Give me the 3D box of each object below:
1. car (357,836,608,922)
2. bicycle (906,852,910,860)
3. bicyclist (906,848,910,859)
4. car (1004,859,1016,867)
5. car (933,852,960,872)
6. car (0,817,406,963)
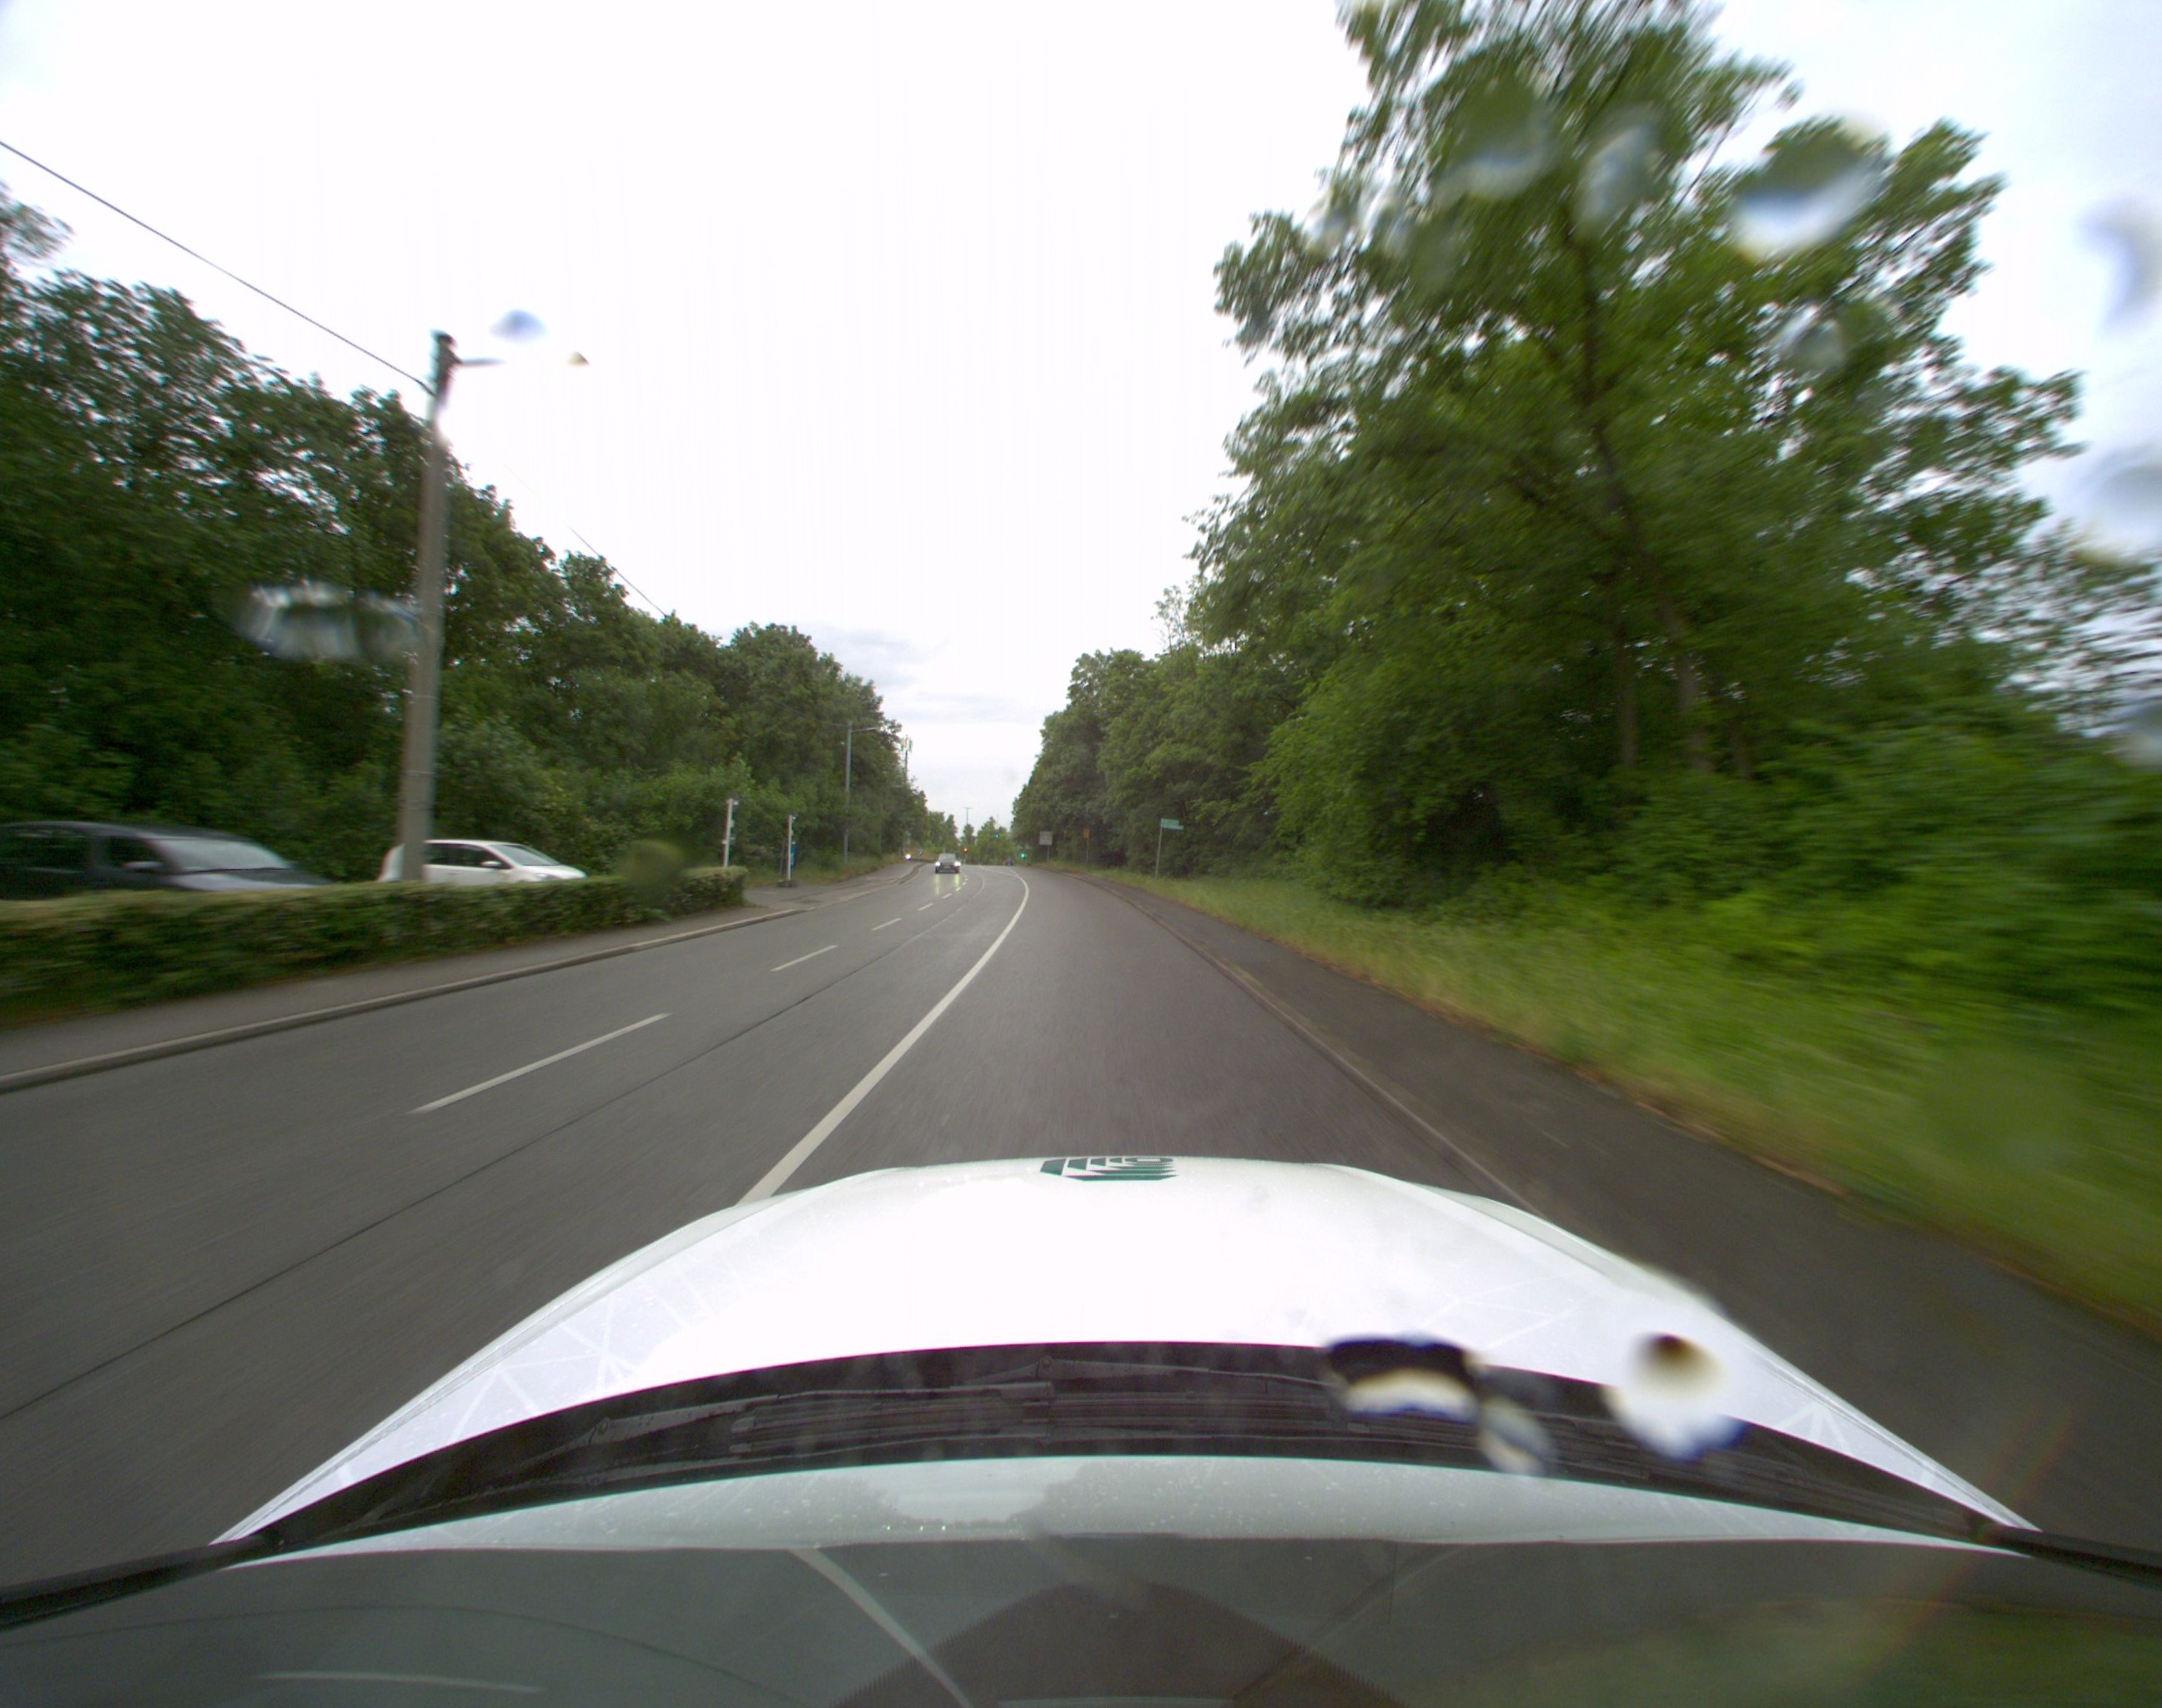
[{"bbox_3d":[-12.015,0.489,16.563,3.637,1.591,1.849,1,0,-4],"label":"car"},{"bbox_3d":[-26.950,0.371,126.853,0.705,1.242,2.156,0,0,-11],"label":"bicycle"},{"bbox_3d":[-26.940,-0.093,126.860,0.705,1.644,0.947,0,0,-11],"label":"bicyclist"},{"bbox_3d":[-14.011,1.800,161.261,1.928,1.498,4.319,0,0,2],"label":"car"},{"bbox_3d":[-10.240,0.601,62.133,1.934,1.498,4.305,0,0,-9],"label":"car"},{"bbox_3d":[-12.007,0.426,10.906,4.273,1.708,2.002,1,0,3],"label":"car"}]
